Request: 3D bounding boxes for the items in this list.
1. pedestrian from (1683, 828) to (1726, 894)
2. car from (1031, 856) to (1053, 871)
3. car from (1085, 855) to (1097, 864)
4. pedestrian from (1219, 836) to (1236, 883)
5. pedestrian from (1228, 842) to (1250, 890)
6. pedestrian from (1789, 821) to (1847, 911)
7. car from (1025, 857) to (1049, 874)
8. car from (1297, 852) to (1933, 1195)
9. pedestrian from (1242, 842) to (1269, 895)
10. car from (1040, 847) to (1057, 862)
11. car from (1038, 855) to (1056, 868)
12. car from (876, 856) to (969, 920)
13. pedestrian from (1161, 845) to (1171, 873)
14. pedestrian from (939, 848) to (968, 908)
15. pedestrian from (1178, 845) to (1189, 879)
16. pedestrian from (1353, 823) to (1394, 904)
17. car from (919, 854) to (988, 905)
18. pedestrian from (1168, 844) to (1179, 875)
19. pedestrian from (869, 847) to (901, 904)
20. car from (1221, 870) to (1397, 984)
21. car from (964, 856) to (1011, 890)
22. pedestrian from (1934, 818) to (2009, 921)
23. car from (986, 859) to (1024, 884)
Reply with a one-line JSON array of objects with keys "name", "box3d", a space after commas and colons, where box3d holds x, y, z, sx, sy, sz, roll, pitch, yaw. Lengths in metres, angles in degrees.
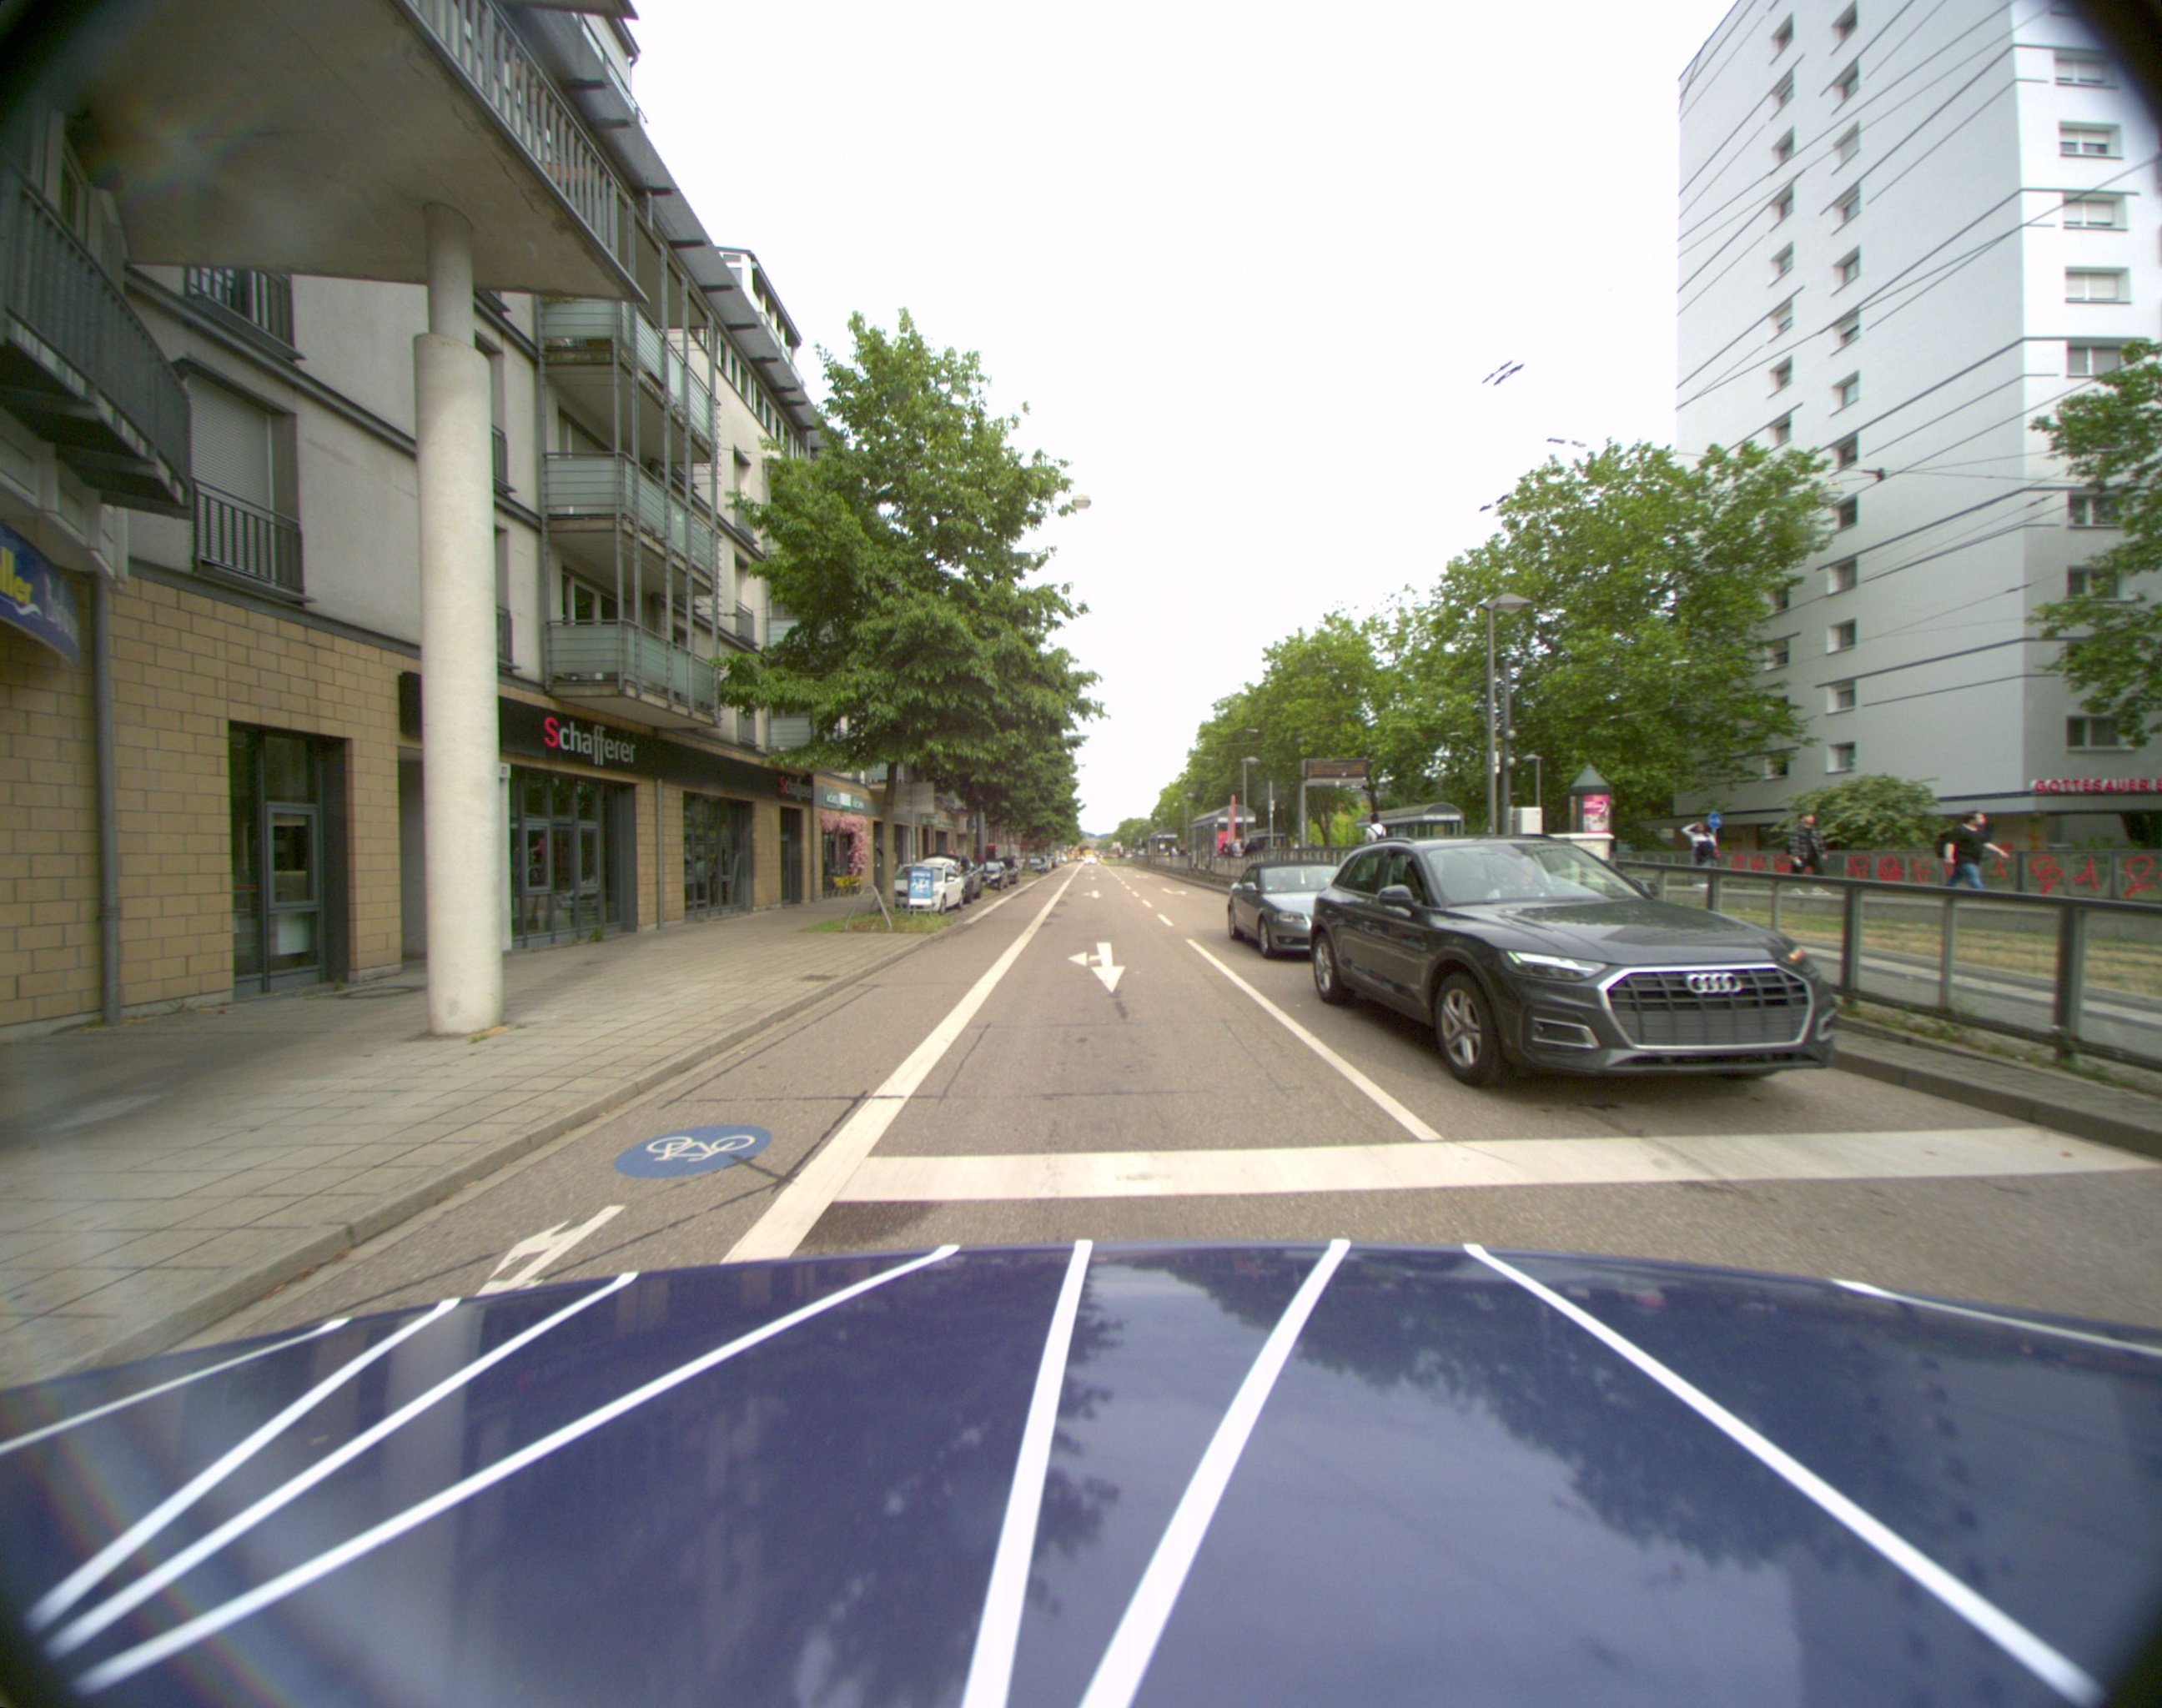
[{"name": "pedestrian", "box3d": [16.125, 0.179, 19.660, 0.622, 1.659, 0.565, -2, 1, 2]}, {"name": "car", "box3d": [-3.644, 0.898, 71.745, 1.730, 1.375, 3.815, 1, 0, 1]}, {"name": "car", "box3d": [1.562, 0.883, 116.201, 1.865, 1.339, 3.815, 1, 0, 1]}, {"name": "pedestrian", "box3d": [6.486, 0.220, 33.669, 0.585, 2.038, 0.821, -2, 1, 4]}, {"name": "pedestrian", "box3d": [6.006, 0.451, 28.877, 0.683, 1.781, 0.821, -2, 1, 4]}, {"name": "pedestrian", "box3d": [15.006, 0.242, 15.476, 0.622, 1.779, 0.534, -2, 1, 2]}, {"name": "car", "box3d": [-3.775, 0.979, 65.398, 1.730, 1.375, 3.815, 1, 0, 1]}, {"name": "car", "box3d": [3.244, 0.833, 5.918, 1.916, 1.637, 4.368, -2, 0, 1]}, {"name": "pedestrian", "box3d": [5.937, 0.484, 25.886, 0.661, 1.781, 0.535, -1, 1, 41]}, {"name": "car", "box3d": [-3.701, 0.035, 87.825, 1.730, 1.675, 3.815, 1, 0, 1]}, {"name": "car", "box3d": [-3.624, 0.766, 82.027, 1.730, 1.375, 3.815, 1, 0, 1]}, {"name": "car", "box3d": [-4.528, 0.916, 22.290, 1.730, 1.652, 4.103, 2, 0, 1]}, {"name": "pedestrian", "box3d": [6.246, 0.350, 55.793, 0.585, 2.038, 0.821, -2, 1, 4]}, {"name": "pedestrian", "box3d": [-4.135, 0.784, 24.738, 0.652, 1.922, 0.644, -2, 1, 16]}, {"name": "pedestrian", "box3d": [6.177, 0.467, 45.849, 0.585, 2.038, 0.821, -2, 1, 4]}, {"name": "pedestrian", "box3d": [6.480, 0.205, 16.850, 0.662, 1.741, 0.534, -2, 1, 2]}, {"name": "car", "box3d": [-4.471, 0.858, 27.157, 1.730, 1.652, 3.943, 1, 0, 1]}, {"name": "pedestrian", "box3d": [6.202, 0.355, 50.920, 0.585, 2.038, 0.821, -2, 1, 4]}, {"name": "pedestrian", "box3d": [-6.253, 0.673, 24.262, 0.745, 1.795, 0.839, -2, 1, 0]}, {"name": "car", "box3d": [3.404, 1.017, 12.111, 1.637, 1.367, 4.013, -2, 0, 1]}, {"name": "car", "box3d": [-4.413, 0.873, 36.528, 1.684, 1.536, 3.943, 1, 0, 1]}, {"name": "pedestrian", "box3d": [15.564, 0.265, 13.291, 0.622, 1.741, 0.548, -2, 1, 2]}, {"name": "car", "box3d": [-4.364, 0.994, 44.294, 1.730, 1.375, 3.815, 1, 0, 1]}]
